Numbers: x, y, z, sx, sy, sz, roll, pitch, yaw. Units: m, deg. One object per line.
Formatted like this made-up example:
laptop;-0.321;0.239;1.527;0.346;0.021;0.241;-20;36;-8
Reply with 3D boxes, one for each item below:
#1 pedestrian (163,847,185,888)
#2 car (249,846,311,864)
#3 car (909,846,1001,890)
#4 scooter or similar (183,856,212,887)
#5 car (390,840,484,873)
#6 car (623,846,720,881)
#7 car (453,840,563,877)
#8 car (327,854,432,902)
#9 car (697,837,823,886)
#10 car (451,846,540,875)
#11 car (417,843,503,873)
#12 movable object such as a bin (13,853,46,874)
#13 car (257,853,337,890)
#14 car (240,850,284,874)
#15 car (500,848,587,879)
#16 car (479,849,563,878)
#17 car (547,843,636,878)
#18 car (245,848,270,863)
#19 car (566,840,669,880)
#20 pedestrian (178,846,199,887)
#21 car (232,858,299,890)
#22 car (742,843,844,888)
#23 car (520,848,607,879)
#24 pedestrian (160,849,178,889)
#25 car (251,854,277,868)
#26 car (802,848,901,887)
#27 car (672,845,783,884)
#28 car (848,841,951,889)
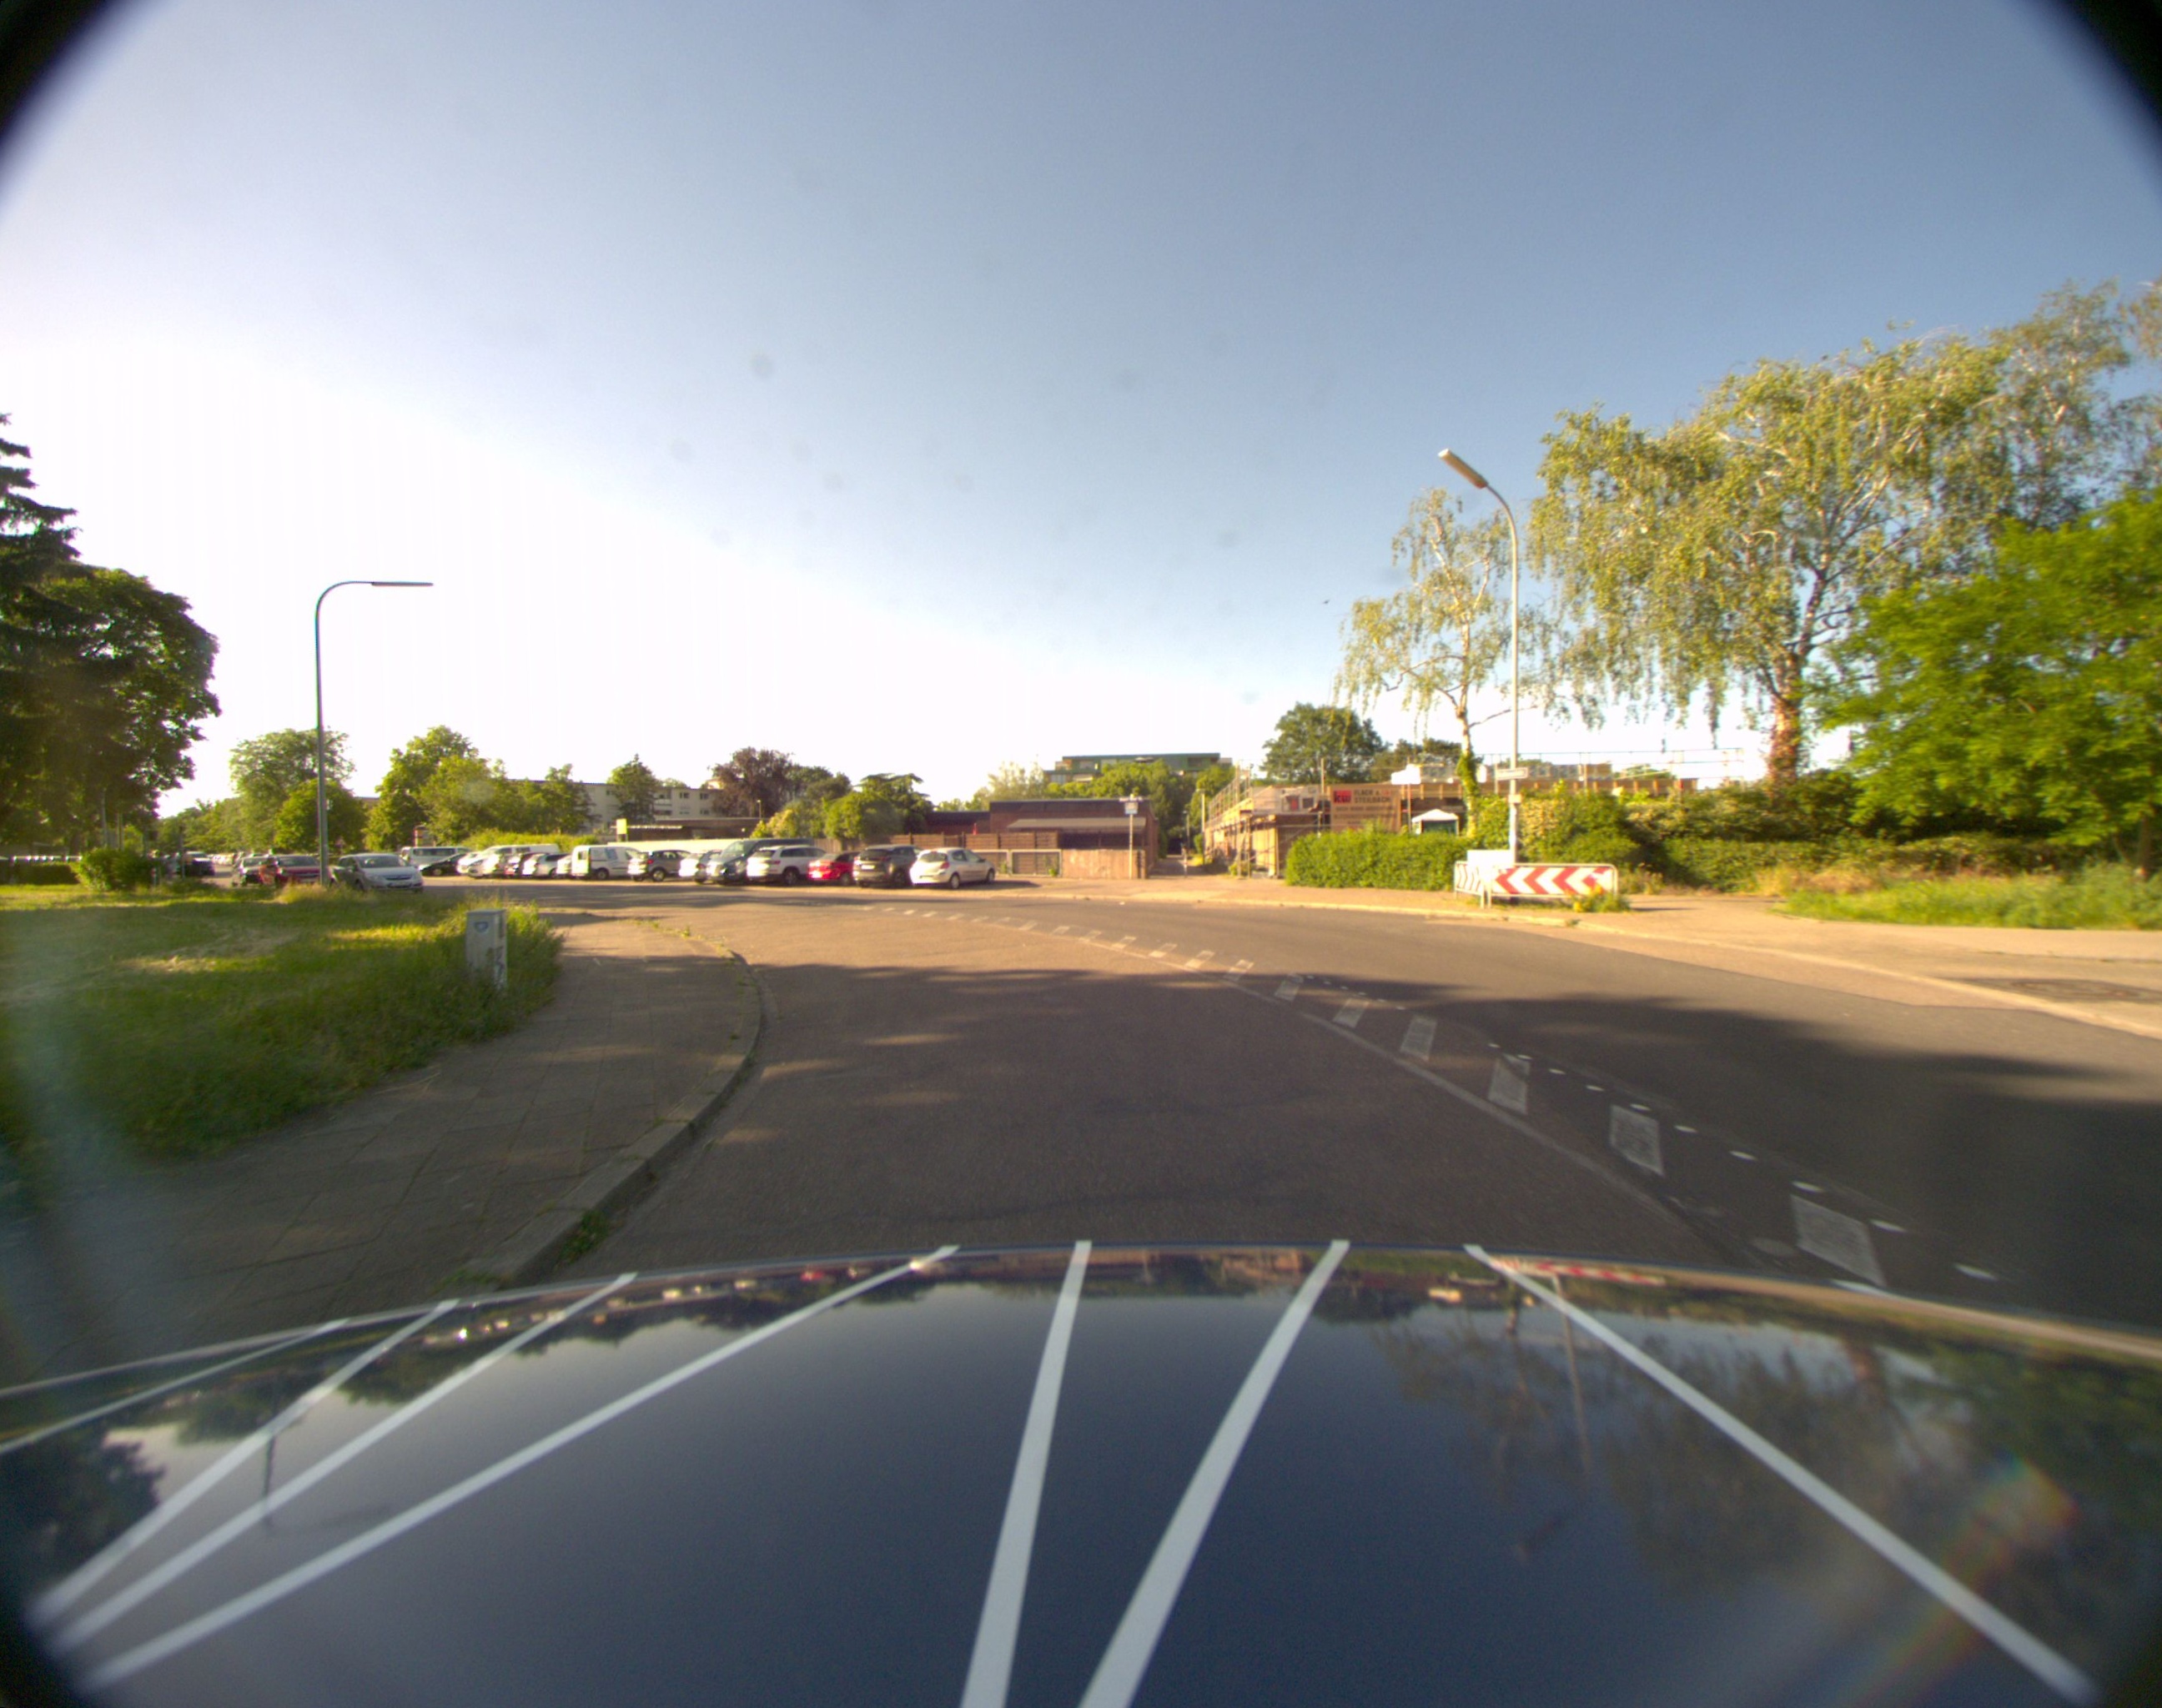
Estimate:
pedestrian;-35.561;0.522;29.794;0.467;1.555;0.488;2;1;30
car;-78.973;0.094;74.982;1.561;1.449;3.999;-1;3;5
car;-4.686;0.478;28.743;1.630;1.451;3.703;0;2;24
scooter or similar;-35.252;0.690;30.305;0.902;1.220;0.626;1;1;33
car;-44.369;0.106;52.436;1.994;1.966;4.501;1;4;37
car;-20.048;0.425;37.350;1.784;1.524;3.832;1;2;28
car;-34.759;0.242;46.235;2.076;1.910;4.811;0;4;32
car;-25.314;0.820;27.405;3.778;1.534;1.740;1;3;32
car;-13.961;0.235;33.380;1.995;1.905;4.895;1;2;27
car;-37.060;0.376;48.161;1.878;1.574;4.007;1;4;38
car;-41.754;0.228;51.146;1.878;1.697;4.172;2;5;42
movable object such as a bin;-70.910;0.621;51.252;1.081;1.340;0.862;-2;3;-40
car;-33.939;0.728;32.875;3.778;1.438;1.583;1;3;32
car;-57.837;0.553;53.643;3.801;1.587;1.737;0;2;38
car;-30.259;0.526;42.860;1.632;1.481;3.531;-1;2;32
car;-32.741;0.538;44.531;1.632;1.439;3.530;1;4;30
car;-26.115;0.306;40.651;1.722;1.482;3.529;3;7;32
car;-107.648;0.228;99.344;4.497;1.930;1.915;0;-1;39
car;-24.025;0.264;39.527;1.920;1.771;3.996;0;3;31
pedestrian;-34.570;0.489;29.429;0.595;1.555;0.484;2;2;44
car;-39.970;0.927;37.214;3.870;1.395;1.656;1;2;35
car;-11.913;0.416;31.672;1.728;1.598;3.629;1;4;31
car;-28.478;0.487;41.873;1.632;1.481;3.531;1;4;36
pedestrian;-34.524;0.553;28.758;0.499;1.494;0.363;2;1;31
car;-97.415;0.810;90.614;3.637;1.672;1.823;0;-1;38
car;-9.342;0.505;31.215;1.728;1.337;3.629;1;4;31
car;-16.071;0.427;34.777;1.920;1.484;4.157;1;4;32
car;-7.038;0.370;29.836;1.814;1.603;4.004;0;4;24
